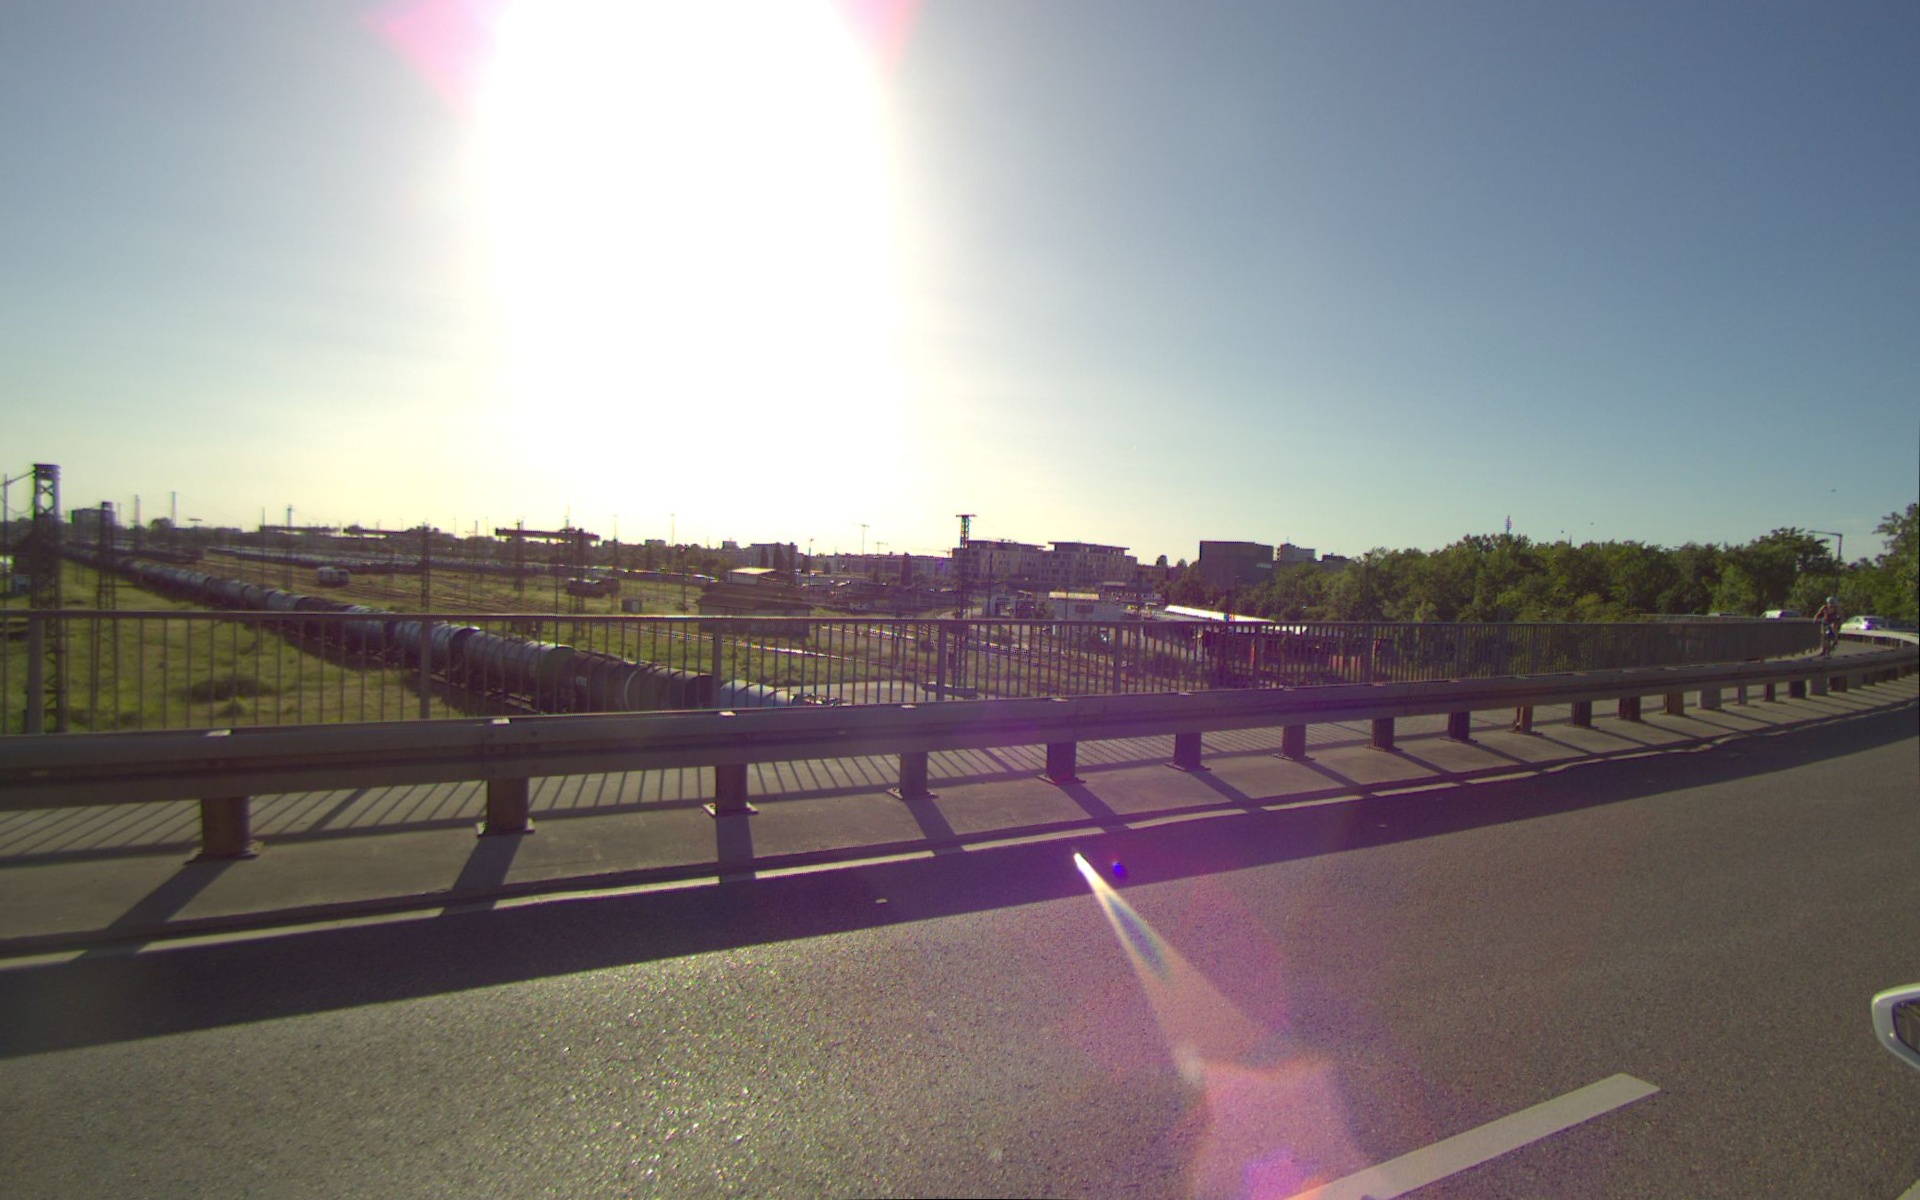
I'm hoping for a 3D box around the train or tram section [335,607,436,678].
[{"bbox_3d":[-51.943,3.551,90.395,3.880,5.593,16.286,0,1,-44],"label":"train or tram section"}]

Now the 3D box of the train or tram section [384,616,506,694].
[{"bbox_3d":[-40.649,4.028,78.772,3.880,5.084,16.150,0,1,-44],"label":"train or tram section"}]

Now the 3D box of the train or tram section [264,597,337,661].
[{"bbox_3d":[-75.132,3.105,114.230,3.880,6.700,16.286,0,1,-44],"label":"train or tram section"}]

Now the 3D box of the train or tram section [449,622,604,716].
[{"bbox_3d":[-29.294,4.242,67.065,3.880,5.084,16.446,0,1,-44],"label":"train or tram section"}]

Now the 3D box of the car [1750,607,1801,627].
[{"bbox_3d":[68.122,1.417,83.974,1.804,1.576,3.895,1,0,15],"label":"car"}]

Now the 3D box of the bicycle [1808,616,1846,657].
[{"bbox_3d":[24.015,0.998,27.807,1.878,1.079,0.647,1,1,-45],"label":"bicycle"}]

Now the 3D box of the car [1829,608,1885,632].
[{"bbox_3d":[62.530,1.366,70.092,1.830,1.606,3.910,1,0,26],"label":"car"}]

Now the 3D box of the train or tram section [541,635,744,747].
[{"bbox_3d":[-17.963,4.632,55.388,3.880,4.653,16.096,1,0,-44],"label":"train or tram section"}]

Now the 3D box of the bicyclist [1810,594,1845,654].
[{"bbox_3d":[23.989,0.651,27.771,0.763,1.611,0.647,0,1,-45],"label":"bicyclist"}]

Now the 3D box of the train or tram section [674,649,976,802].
[{"bbox_3d":[-6.558,4.893,43.668,3.880,4.653,16.547,1,0,-44],"label":"train or tram section"}]
